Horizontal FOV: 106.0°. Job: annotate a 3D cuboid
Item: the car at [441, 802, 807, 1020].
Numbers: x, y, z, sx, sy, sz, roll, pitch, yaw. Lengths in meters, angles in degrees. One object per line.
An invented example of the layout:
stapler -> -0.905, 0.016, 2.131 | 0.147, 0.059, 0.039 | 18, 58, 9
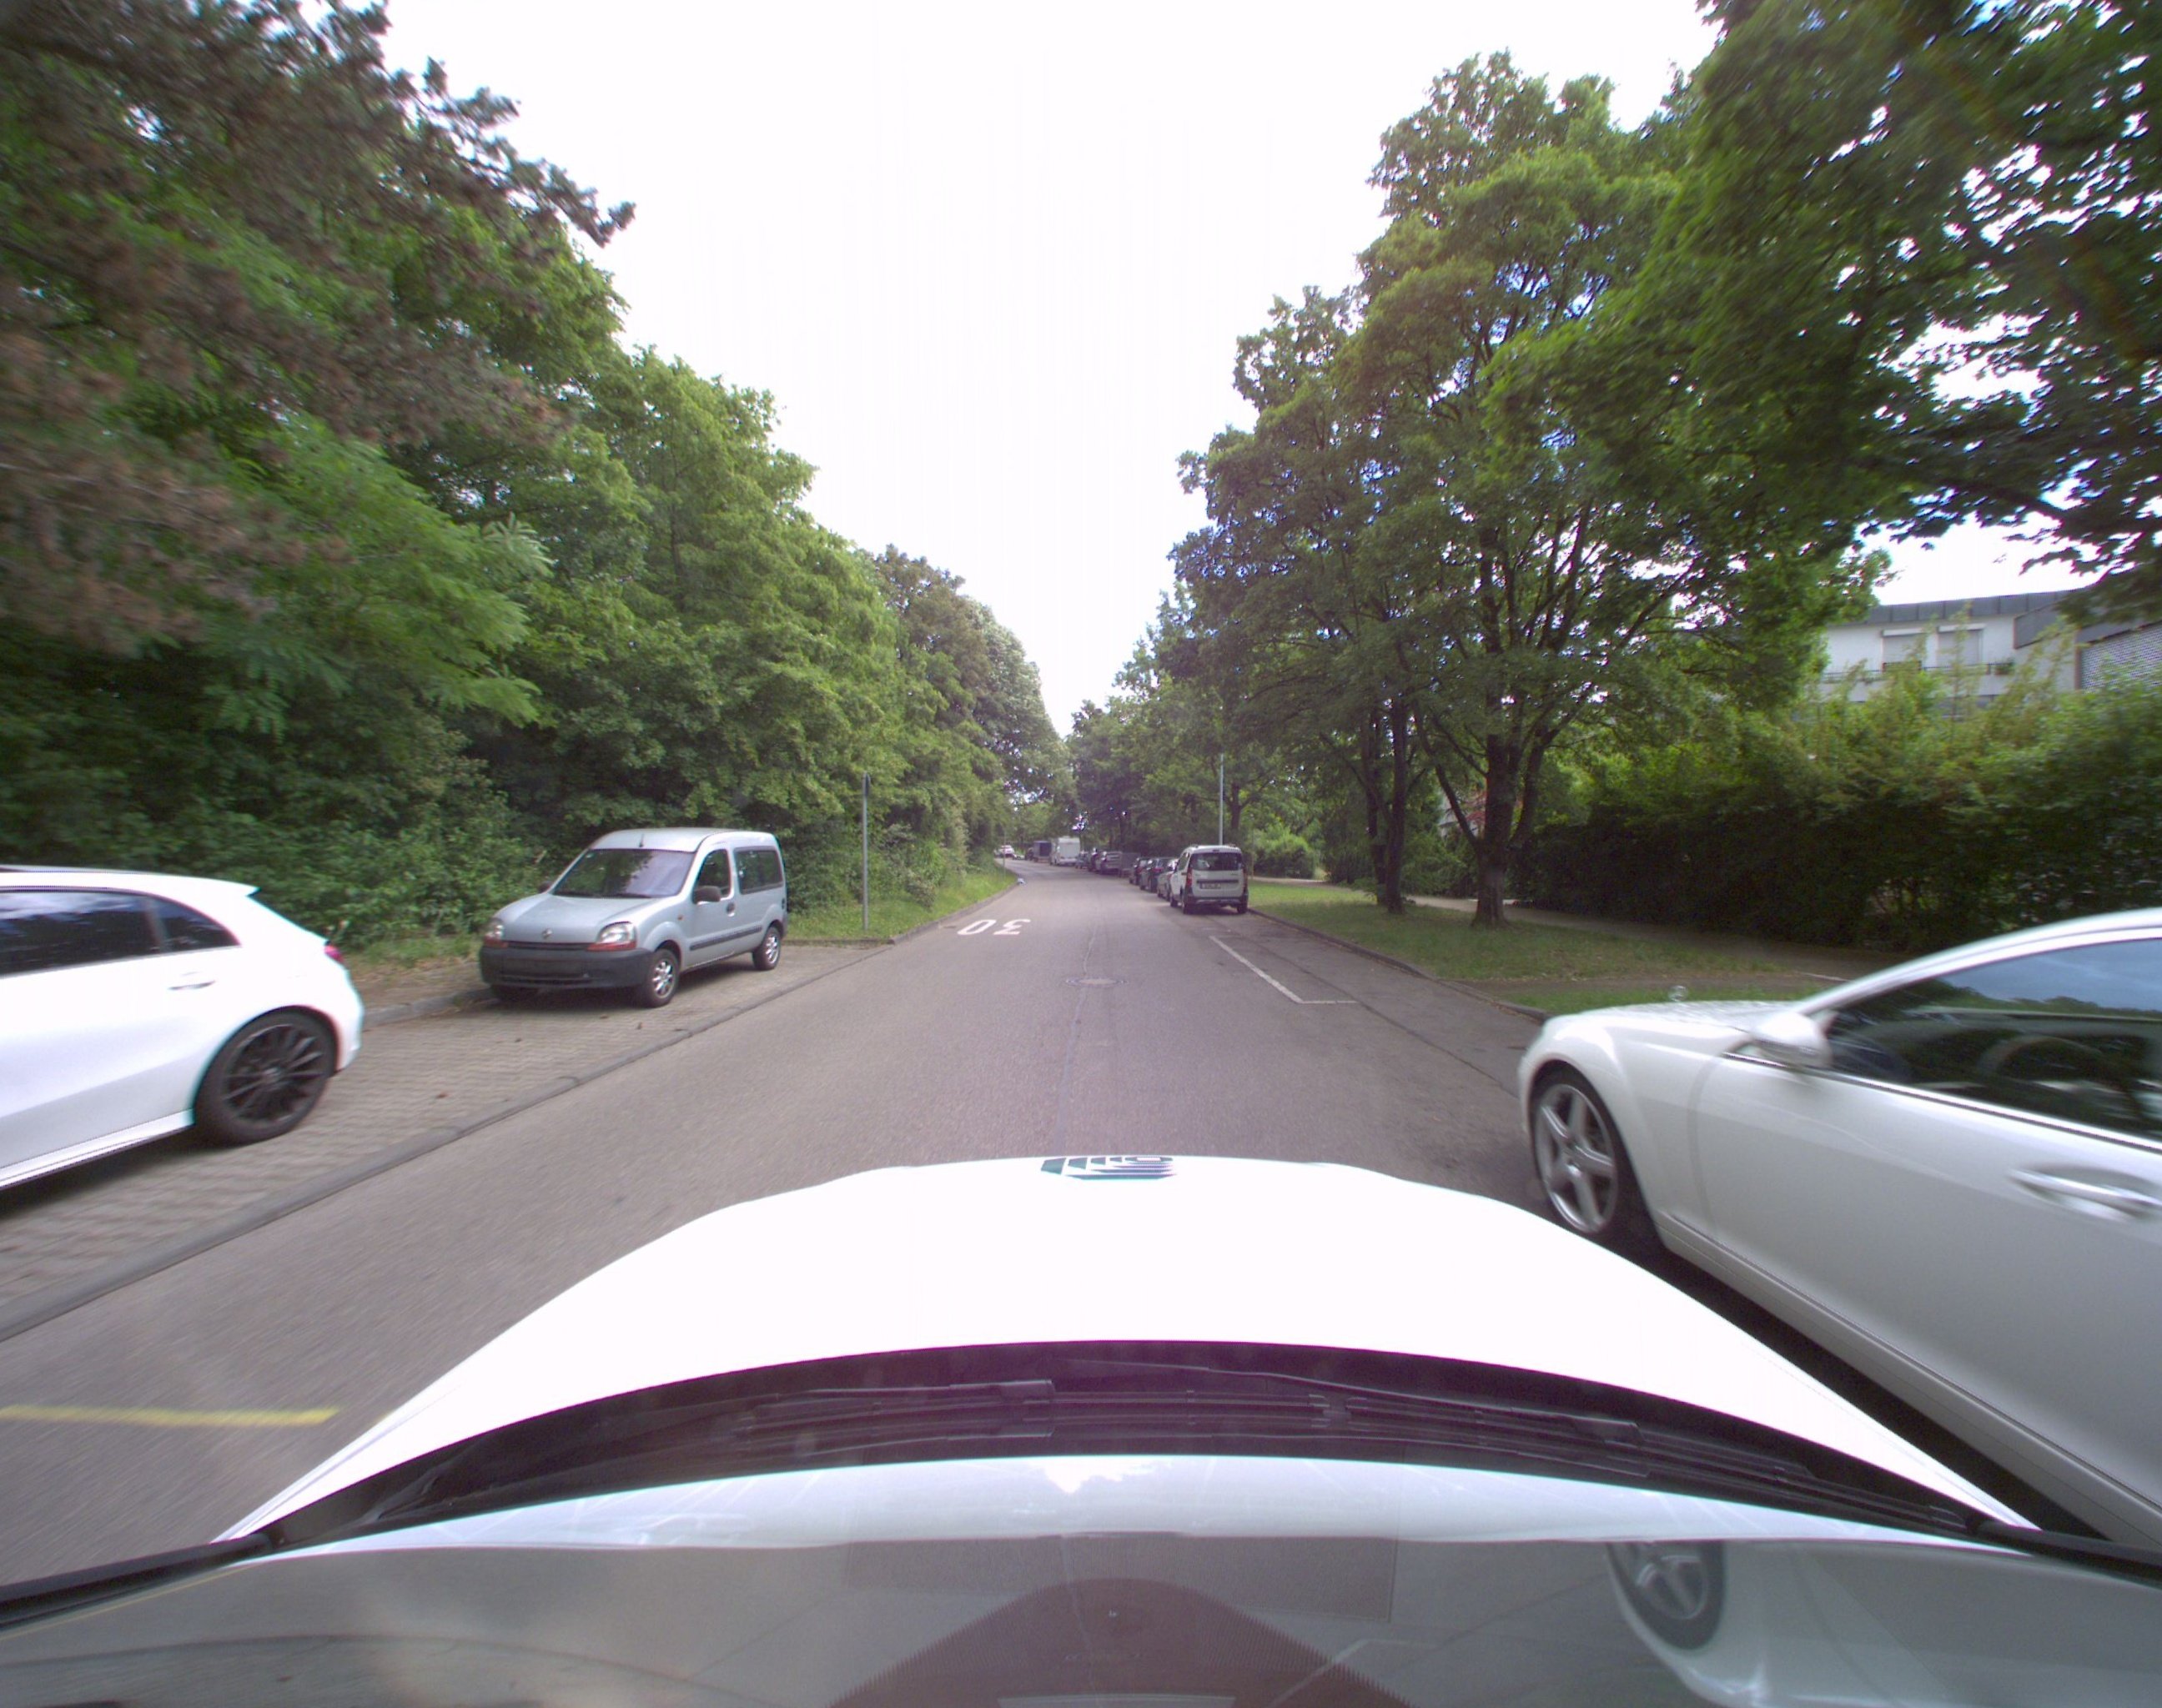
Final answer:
car -> -4.846, 0.487, 9.444 | 1.714, 1.921, 4.108 | 2, 1, 3

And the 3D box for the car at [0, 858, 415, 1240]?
car -> -5.040, 0.759, 2.828 | 1.800, 1.403, 4.371 | 2, 0, 0

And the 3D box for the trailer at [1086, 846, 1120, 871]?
trailer -> 1.710, 0.336, 65.394 | 1.977, 1.811, 5.137 | -1, 1, -7

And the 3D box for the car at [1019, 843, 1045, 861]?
car -> -6.073, -0.254, 100.547 | 2.000, 2.025, 3.974 | -3, 3, -20

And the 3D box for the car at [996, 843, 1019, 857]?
car -> -10.266, -0.558, 113.228 | 2.045, 1.803, 4.050 | -1, 1, -24

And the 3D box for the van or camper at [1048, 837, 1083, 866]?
van or camper -> -1.705, -0.302, 84.866 | 2.483, 2.876, 6.863 | 0, 0, -11

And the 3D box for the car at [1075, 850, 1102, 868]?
car -> 0.658, 0.449, 74.693 | 1.799, 1.562, 3.823 | -1, 1, -9

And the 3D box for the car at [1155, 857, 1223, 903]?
car -> 3.719, 0.856, 28.745 | 1.807, 1.437, 4.241 | 1, 0, 0

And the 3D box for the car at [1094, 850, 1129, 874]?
car -> 2.147, 0.576, 59.049 | 1.791, 1.670, 4.489 | -1, -1, -8

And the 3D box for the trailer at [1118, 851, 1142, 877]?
trailer -> 3.150, 0.632, 52.865 | 1.276, 1.585, 2.457 | 0, 0, -4

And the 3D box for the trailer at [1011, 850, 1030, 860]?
trailer -> -7.793, 0.126, 104.288 | 1.656, 1.086, 3.978 | -3, 2, -17

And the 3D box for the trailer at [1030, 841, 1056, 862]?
trailer -> -4.447, -0.288, 95.322 | 2.000, 2.398, 3.975 | 0, 0, -19

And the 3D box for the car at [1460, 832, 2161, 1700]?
car -> 2.815, 0.710, 1.513 | 1.880, 1.507, 5.176 | 0, 0, 1

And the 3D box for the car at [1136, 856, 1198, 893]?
car -> 3.596, 0.812, 34.730 | 1.844, 1.474, 4.472 | 0, 0, -4

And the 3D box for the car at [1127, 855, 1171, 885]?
car -> 3.466, 0.778, 42.085 | 1.717, 1.453, 3.912 | 0, 0, -4

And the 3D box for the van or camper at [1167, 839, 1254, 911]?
van or camper -> 3.548, 0.595, 22.999 | 1.796, 1.838, 4.320 | 0, -1, 0

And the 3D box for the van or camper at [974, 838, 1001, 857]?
van or camper -> -13.934, -1.046, 121.091 | 2.540, 2.697, 4.536 | -2, 1, -27
